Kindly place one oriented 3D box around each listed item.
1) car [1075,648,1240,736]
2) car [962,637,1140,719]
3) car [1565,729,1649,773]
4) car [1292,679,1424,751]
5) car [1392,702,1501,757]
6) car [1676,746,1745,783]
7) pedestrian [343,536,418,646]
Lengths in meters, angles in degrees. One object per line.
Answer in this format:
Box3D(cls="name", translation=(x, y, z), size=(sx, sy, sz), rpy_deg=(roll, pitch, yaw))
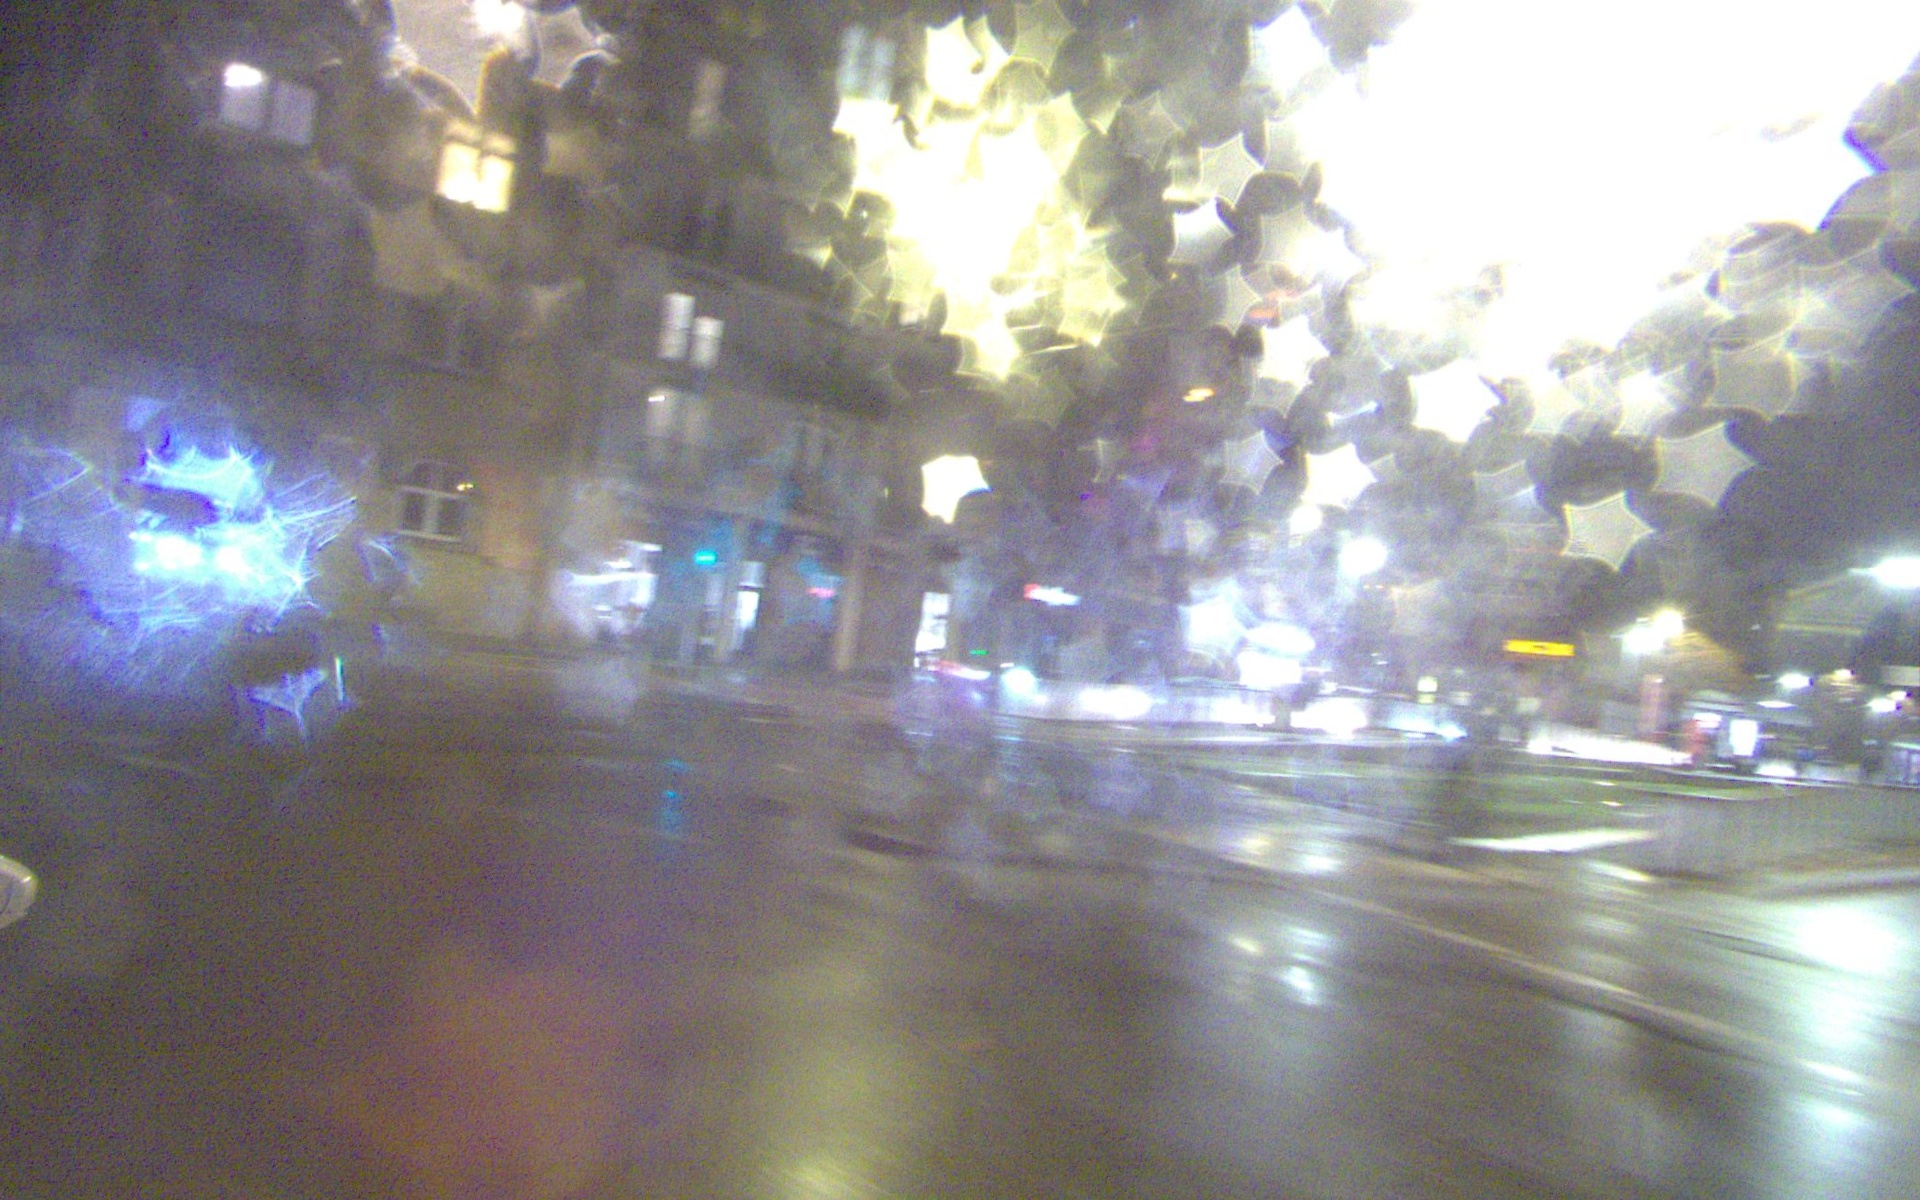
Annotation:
Box3D(cls="car", translation=(4.793, 2.233, 24.220), size=(3.770, 1.597, 1.725), rpy_deg=(9, -2, -38))
Box3D(cls="car", translation=(2.499, 2.127, 26.962), size=(4.555, 1.597, 1.902), rpy_deg=(10, -2, -38))
Box3D(cls="car", translation=(31.067, 7.241, 48.232), size=(4.555, 1.597, 1.902), rpy_deg=(10, -2, -38))
Box3D(cls="car", translation=(11.532, 3.335, 29.096), size=(3.697, 1.597, 1.675), rpy_deg=(9, -2, -35))
Box3D(cls="car", translation=(19.052, 5.069, 39.337), size=(4.555, 1.597, 1.902), rpy_deg=(10, -2, -38))
Box3D(cls="car", translation=(42.736, 9.373, 57.261), size=(4.555, 1.597, 1.902), rpy_deg=(10, -2, -38))
Box3D(cls="pedestrian", translation=(-11.822, -0.188, 20.523), size=(0.969, 2.039, 1.004), rpy_deg=(8, 3, -39))
